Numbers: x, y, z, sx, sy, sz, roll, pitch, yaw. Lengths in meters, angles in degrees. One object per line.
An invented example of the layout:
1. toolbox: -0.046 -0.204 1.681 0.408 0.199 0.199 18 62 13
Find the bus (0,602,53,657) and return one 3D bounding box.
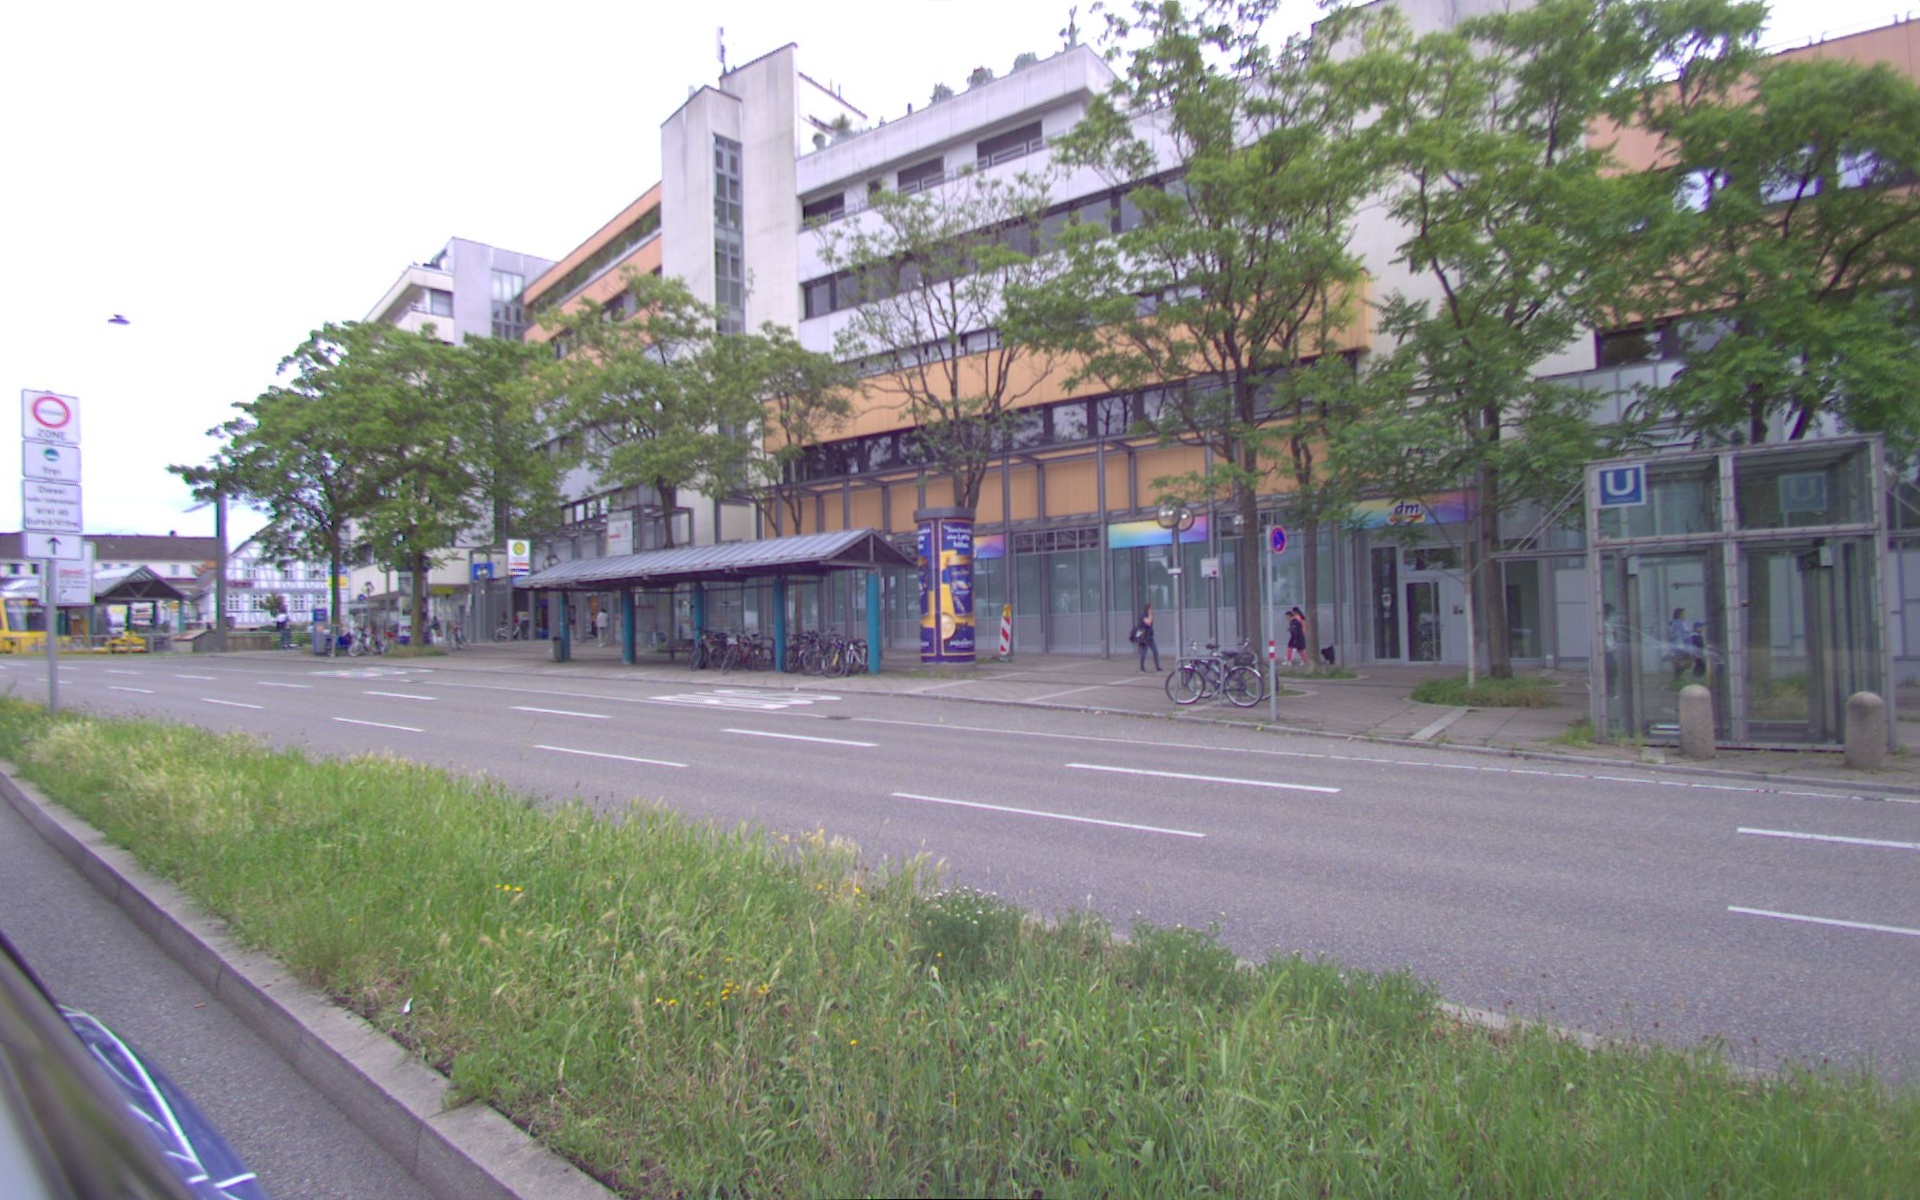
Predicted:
1. bus: -55.993 1.687 58.615 8.470 3.006 2.530 -1 -2 29

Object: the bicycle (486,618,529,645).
1. bicycle: -24.959 1.728 55.790 2.107 1.385 0.621 -1 0 -31

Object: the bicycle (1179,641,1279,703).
1. bicycle: 4.975 1.315 18.793 1.737 1.074 0.542 -2 -1 45

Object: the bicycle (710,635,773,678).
1. bicycle: -5.970 1.532 27.725 0.549 1.048 1.714 -2 1 38

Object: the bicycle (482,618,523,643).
1. bicycle: -26.108 1.739 57.768 2.106 1.377 0.621 -1 0 -24

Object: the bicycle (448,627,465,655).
1. bicycle: -21.362 1.710 42.931 0.584 1.134 2.044 1 -1 -26

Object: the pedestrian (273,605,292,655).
1. pedestrian: -31.948 1.406 47.721 0.608 2.325 0.583 -1 -2 39

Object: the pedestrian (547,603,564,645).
1. pedestrian: -19.590 1.152 49.046 0.558 2.029 0.611 1 -2 -44

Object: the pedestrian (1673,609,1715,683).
1. pedestrian: 15.271 0.948 21.067 0.620 1.515 0.563 -1 -2 31

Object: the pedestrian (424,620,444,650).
1. pedestrian: -29.463 1.963 56.643 0.752 1.695 0.755 -1 -2 41

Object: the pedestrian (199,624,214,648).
1. pedestrian: -50.051 2.395 67.224 0.581 1.554 0.570 -1 -2 32

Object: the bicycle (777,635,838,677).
1. bicycle: -4.147 1.517 27.563 0.549 1.048 1.714 -2 -1 38

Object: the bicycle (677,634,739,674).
1. bicycle: -7.243 1.537 29.152 0.549 1.048 1.714 -2 0 38

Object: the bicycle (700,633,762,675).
1. bicycle: -6.465 1.515 28.587 0.549 1.048 1.714 -2 1 38

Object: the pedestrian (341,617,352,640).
1. pedestrian: -30.984 1.432 51.088 0.368 1.188 0.338 -1 -2 31

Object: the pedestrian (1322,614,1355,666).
1. pedestrian: 10.181 1.064 27.207 0.694 1.385 0.578 -1 -2 34

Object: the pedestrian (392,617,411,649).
1. pedestrian: -32.804 1.916 59.450 0.752 1.859 0.755 -1 -2 41

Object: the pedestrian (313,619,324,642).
1. pedestrian: -42.981 2.034 67.780 0.548 1.506 0.454 1 -2 -41

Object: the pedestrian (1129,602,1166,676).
1. pedestrian: 4.629 0.963 24.993 0.769 1.800 0.525 -1 -2 33

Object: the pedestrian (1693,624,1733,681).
1. pedestrian: 15.856 1.097 21.326 0.620 1.190 0.418 -1 -2 31

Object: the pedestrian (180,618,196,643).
1. pedestrian: -62.524 2.440 81.961 0.867 2.029 1.010 1 -2 -44

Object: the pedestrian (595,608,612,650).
1. pedestrian: -15.484 1.245 43.909 0.639 1.823 0.761 0 -2 -16

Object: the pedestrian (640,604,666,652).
1. pedestrian: -13.153 1.199 43.410 0.792 2.029 0.702 -1 0 34

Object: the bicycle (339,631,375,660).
1. bicycle: -23.624 1.769 39.653 0.585 1.085 2.042 0 -1 -12

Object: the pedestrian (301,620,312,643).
1. pedestrian: -43.531 2.076 67.390 0.548 1.506 0.454 1 -2 -41

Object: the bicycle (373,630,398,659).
1. bicycle: -22.757 1.756 40.111 0.584 1.085 2.044 0 -1 -21

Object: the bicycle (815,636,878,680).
1. bicycle: -2.914 1.476 26.063 0.549 1.048 1.714 -2 0 38

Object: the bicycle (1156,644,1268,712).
1. bicycle: 4.359 1.326 17.602 0.802 1.068 1.739 0 -1 -40

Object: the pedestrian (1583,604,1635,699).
1. pedestrian: 11.683 0.908 18.212 0.721 1.662 0.669 -1 -1 37

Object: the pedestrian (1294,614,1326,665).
1. pedestrian: 9.609 1.071 27.763 0.694 1.385 0.578 -1 -2 34

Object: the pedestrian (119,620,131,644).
1. pedestrian: -70.577 2.701 85.579 0.731 2.029 0.940 1 -2 -39

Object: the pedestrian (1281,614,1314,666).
1. pedestrian: 9.104 1.078 27.298 0.694 1.385 0.578 -1 -2 34

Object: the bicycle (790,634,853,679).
1. bicycle: -3.623 1.461 26.596 0.549 1.048 1.714 -2 0 38
